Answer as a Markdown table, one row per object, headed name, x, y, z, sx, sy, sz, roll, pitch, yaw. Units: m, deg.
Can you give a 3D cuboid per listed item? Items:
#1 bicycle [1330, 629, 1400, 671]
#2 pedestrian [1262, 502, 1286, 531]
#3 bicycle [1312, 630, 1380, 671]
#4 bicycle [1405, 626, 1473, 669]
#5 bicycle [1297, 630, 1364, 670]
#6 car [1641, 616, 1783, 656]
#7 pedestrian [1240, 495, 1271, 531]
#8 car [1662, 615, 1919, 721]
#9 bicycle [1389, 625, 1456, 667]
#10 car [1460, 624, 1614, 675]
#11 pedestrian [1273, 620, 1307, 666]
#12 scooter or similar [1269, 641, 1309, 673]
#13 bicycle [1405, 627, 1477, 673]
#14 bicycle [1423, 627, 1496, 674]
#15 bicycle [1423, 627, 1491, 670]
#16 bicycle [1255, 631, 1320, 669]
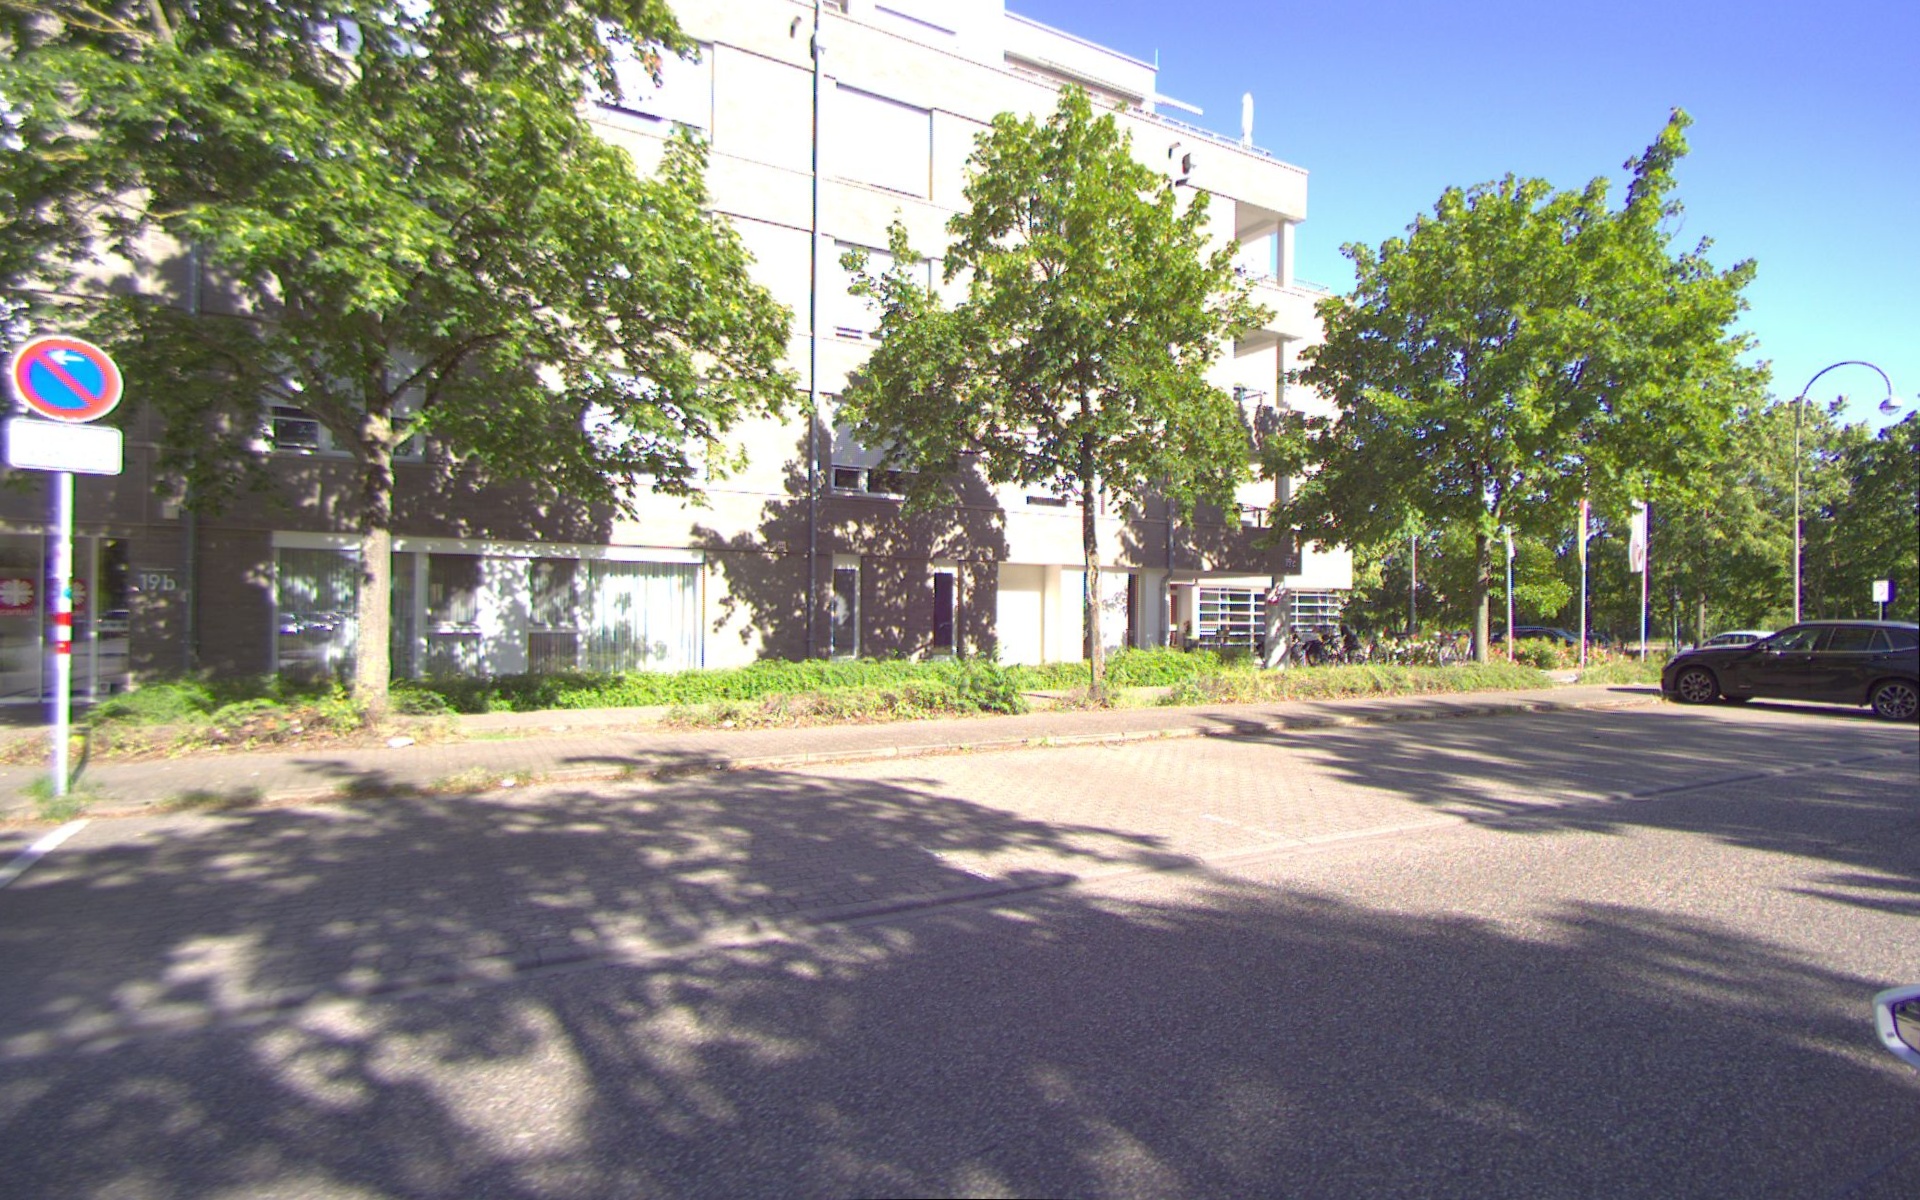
| name | x | y | z | sx | sy | sz | roll | pitch | yaw |
| --- | --- | --- | --- | --- | --- | --- | --- | --- | --- |
| bicycle | 10.611 | 1.294 | 26.286 | 2.167 | 1.061 | 0.435 | 1 | 0 | -30 |
| pedestrian | 7.898 | -2.095 | 25.253 | 0.424 | 0.695 | 0.412 | 1 | 0 | -39 |
| bicycle | 10.448 | 1.360 | 27.138 | 2.167 | 1.061 | 0.435 | 1 | 0 | -30 |
| bicycle | 12.478 | 1.227 | 26.140 | 2.167 | 1.061 | 0.435 | 1 | 0 | -30 |
| bicycle | 10.190 | 1.370 | 27.605 | 2.167 | 1.061 | 0.435 | 1 | 0 | -30 |
| car | 28.863 | 1.413 | 38.685 | 1.604 | 1.469 | 4.062 | 1 | -3 | -28 |
| pedestrian | 7.395 | -2.169 | 25.137 | 0.360 | 0.809 | 0.676 | 1 | 0 | -36 |
| car | 14.623 | 1.073 | 16.979 | 1.750 | 1.540 | 4.174 | 1 | 0 | -28 |
| bicycle | 12.255 | 1.217 | 26.580 | 2.167 | 1.061 | 0.435 | 1 | 0 | -30 |
| car | 19.859 | 1.708 | 34.787 | 1.869 | 1.641 | 4.308 | 1 | -3 | -28 |
| pedestrian | 10.180 | 1.323 | 30.997 | 0.736 | 1.379 | 0.665 | 1 | -2 | -29 |
| scooter or similar | 10.158 | 1.753 | 31.009 | 0.857 | 0.967 | 0.800 | 1 | -1 | -27 |
| bicycle | 11.706 | 1.200 | 24.419 | 2.167 | 1.061 | 0.435 | 1 | 0 | -30 |
| bicycle | 11.945 | 1.200 | 24.002 | 2.167 | 1.061 | 0.435 | 1 | 0 | -30 |
| bicycle | 12.720 | 1.239 | 25.683 | 2.167 | 1.061 | 0.435 | 1 | 0 | -30 |
| bicycle | 9.415 | 1.420 | 28.858 | 2.167 | 1.061 | 0.435 | 1 | 0 | -30 |
